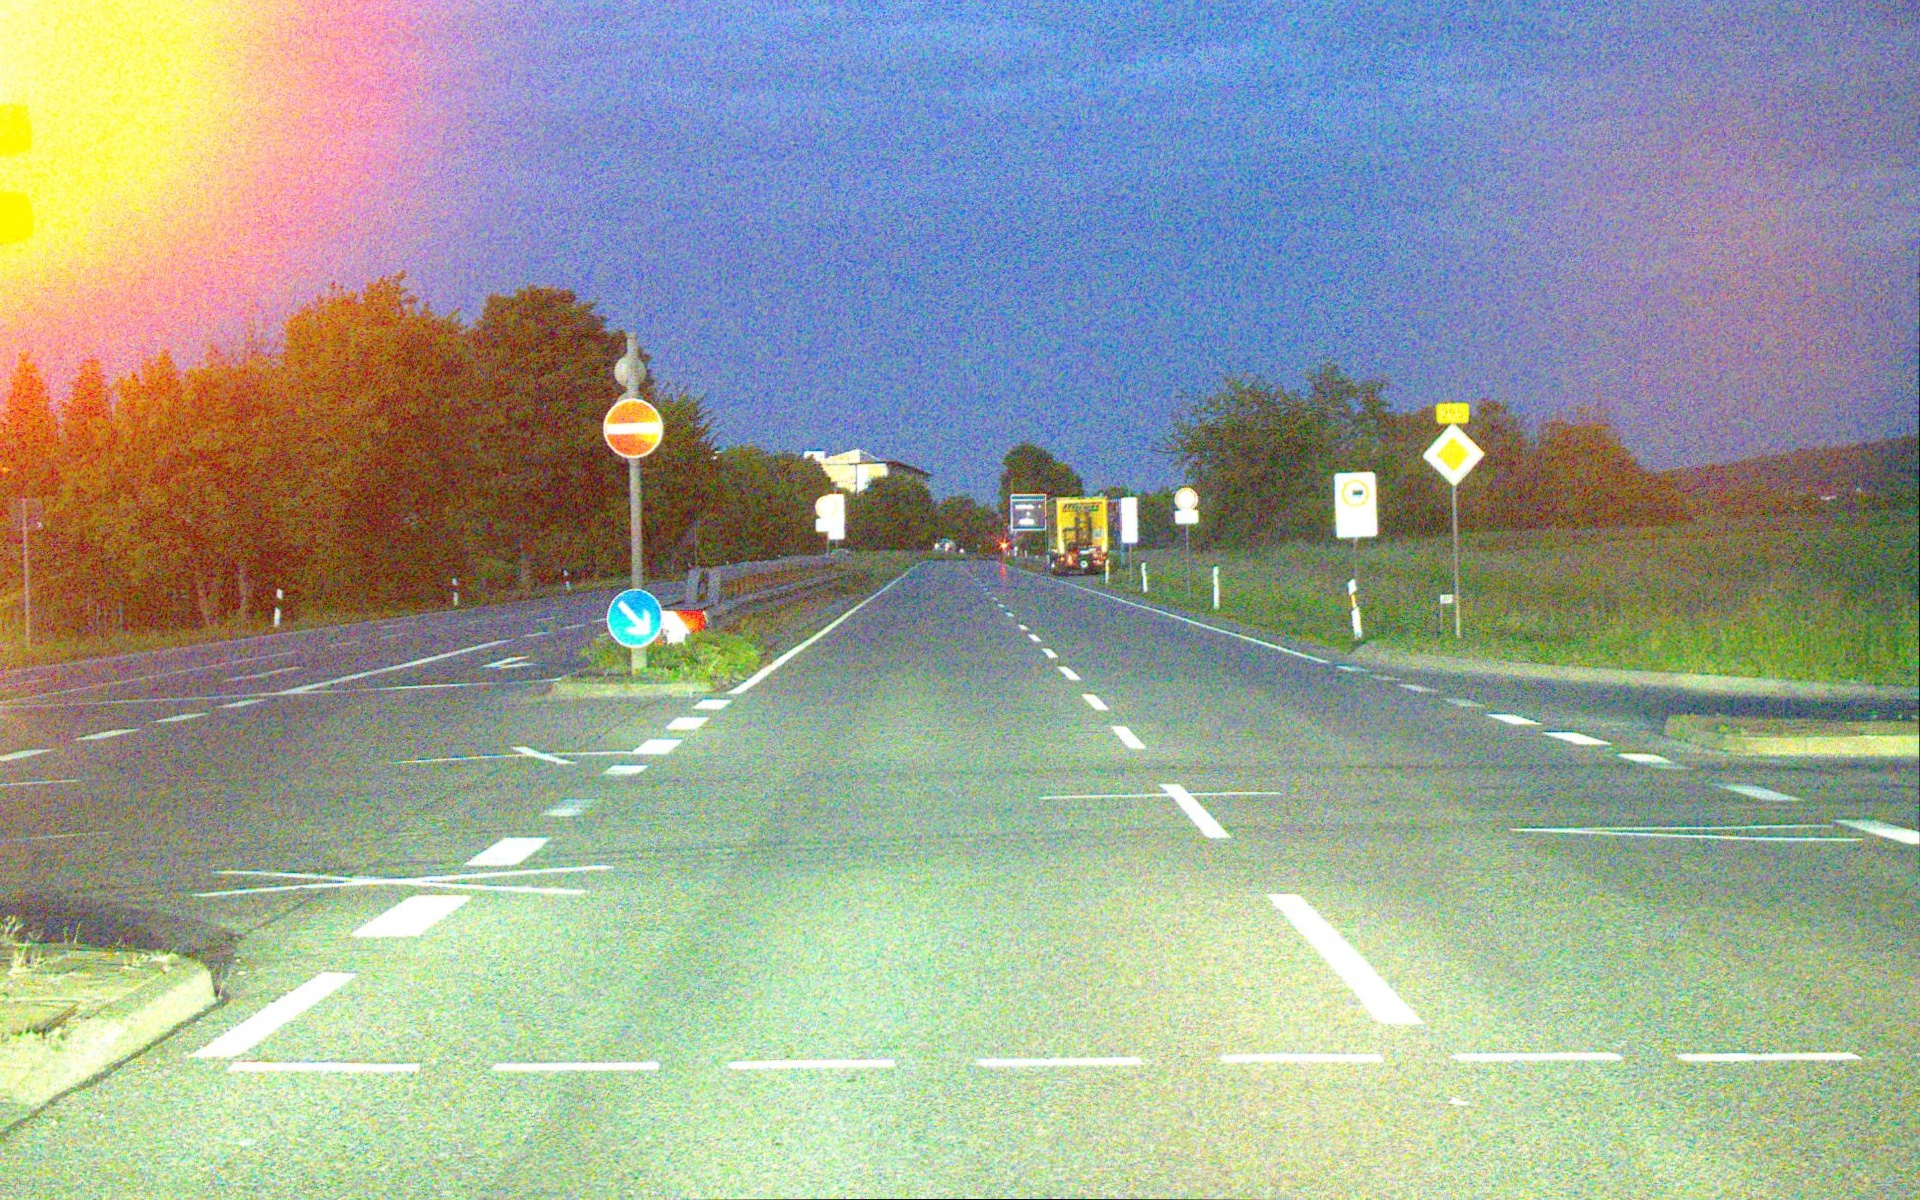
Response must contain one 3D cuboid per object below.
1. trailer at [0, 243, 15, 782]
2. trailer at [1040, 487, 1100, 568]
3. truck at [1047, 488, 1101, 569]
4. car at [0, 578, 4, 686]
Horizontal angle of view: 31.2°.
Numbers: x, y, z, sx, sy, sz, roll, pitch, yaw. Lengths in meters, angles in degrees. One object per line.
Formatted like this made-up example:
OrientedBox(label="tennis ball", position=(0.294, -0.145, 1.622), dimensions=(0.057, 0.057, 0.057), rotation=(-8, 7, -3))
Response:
OrientedBox(label="trailer", position=(-8.653, -0.907, 14.752), dimensions=(2.583, 3.929, 8.857), rotation=(0, 2, 40))
OrientedBox(label="trailer", position=(5.756, -3.783, 181.674), dimensions=(2.622, 4.090, 12.938), rotation=(-1, 1, 0))
OrientedBox(label="truck", position=(5.776, -3.656, 174.760), dimensions=(2.579, 4.057, 6.130), rotation=(0, 1, 1))
OrientedBox(label="car", position=(-13.032, 0.414, 41.950), dimensions=(1.652, 1.380, 4.030), rotation=(1, 1, -1))
